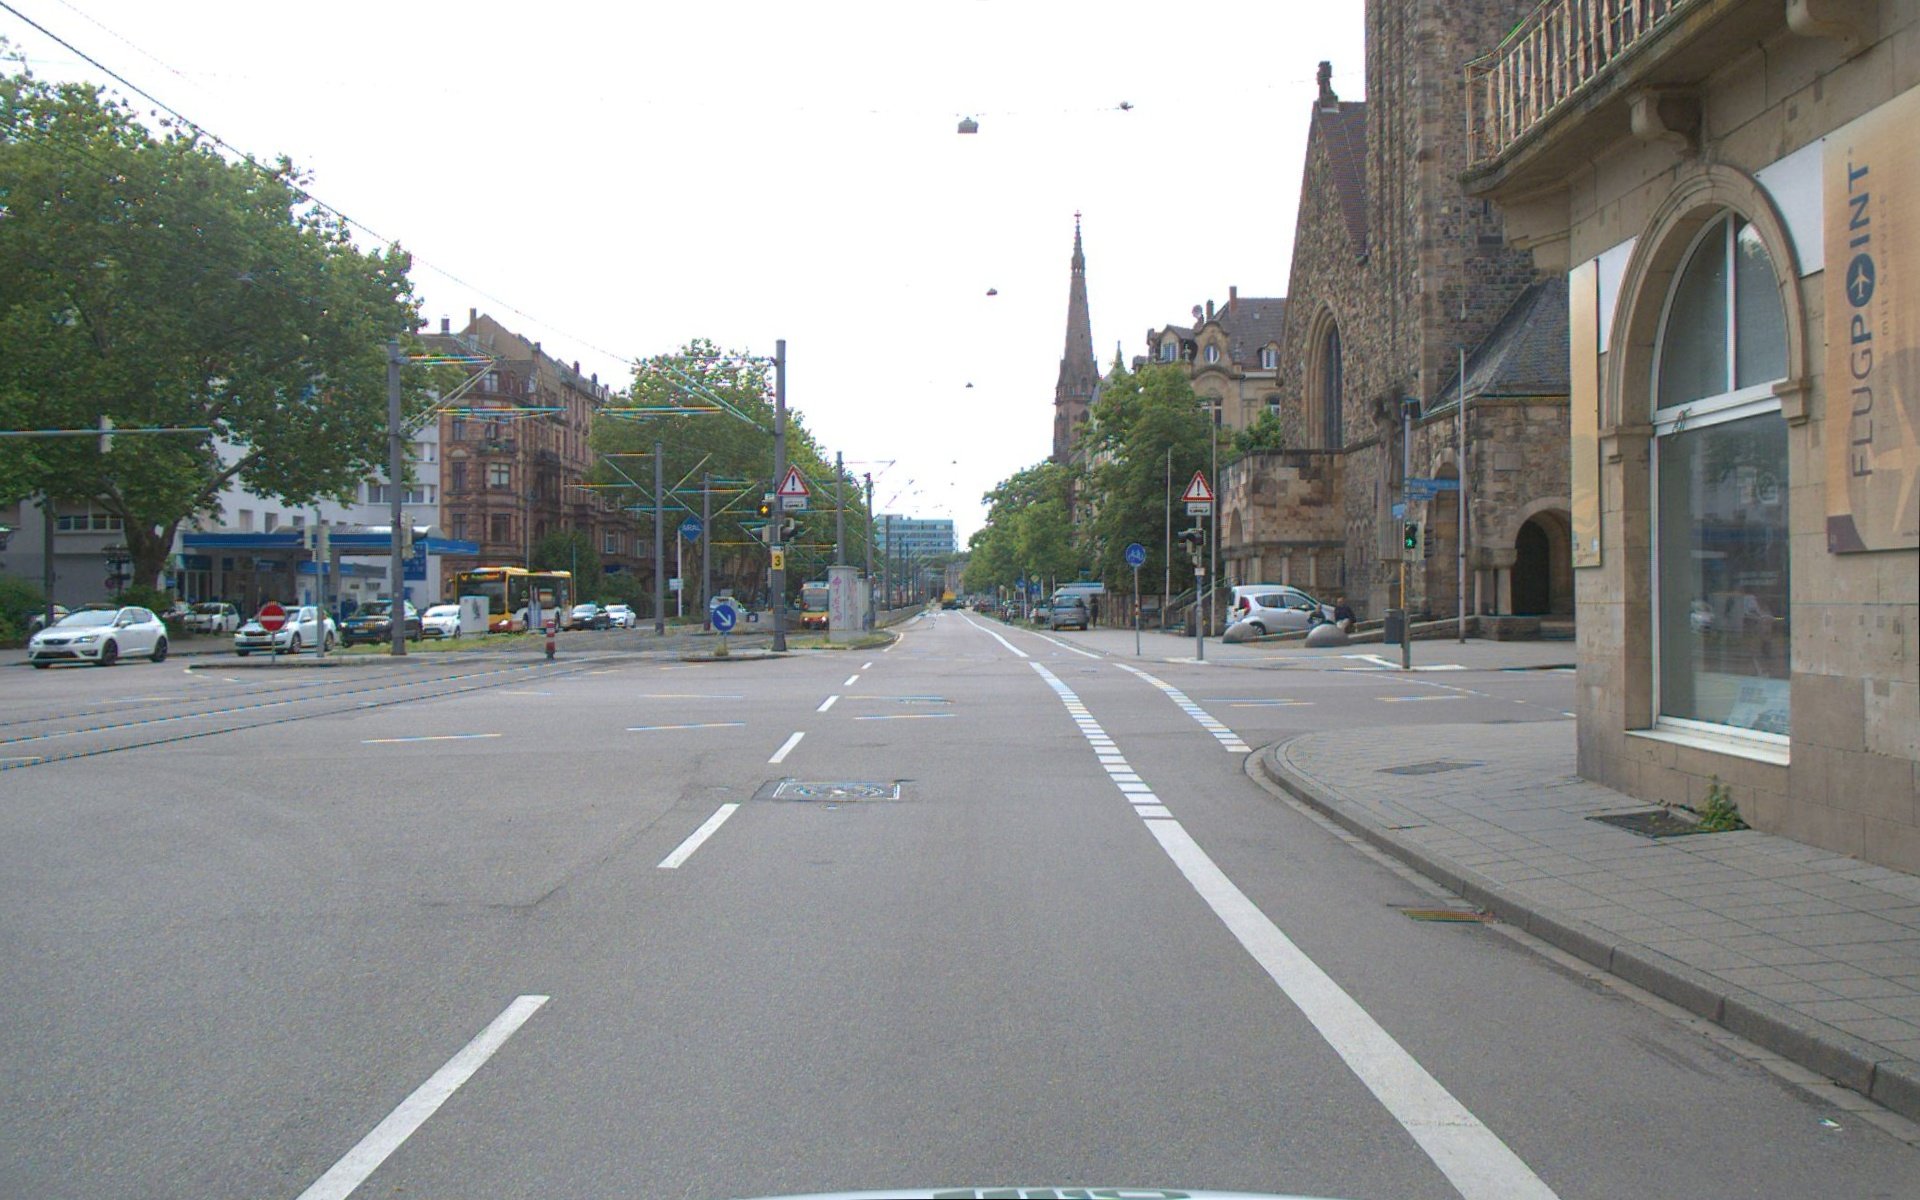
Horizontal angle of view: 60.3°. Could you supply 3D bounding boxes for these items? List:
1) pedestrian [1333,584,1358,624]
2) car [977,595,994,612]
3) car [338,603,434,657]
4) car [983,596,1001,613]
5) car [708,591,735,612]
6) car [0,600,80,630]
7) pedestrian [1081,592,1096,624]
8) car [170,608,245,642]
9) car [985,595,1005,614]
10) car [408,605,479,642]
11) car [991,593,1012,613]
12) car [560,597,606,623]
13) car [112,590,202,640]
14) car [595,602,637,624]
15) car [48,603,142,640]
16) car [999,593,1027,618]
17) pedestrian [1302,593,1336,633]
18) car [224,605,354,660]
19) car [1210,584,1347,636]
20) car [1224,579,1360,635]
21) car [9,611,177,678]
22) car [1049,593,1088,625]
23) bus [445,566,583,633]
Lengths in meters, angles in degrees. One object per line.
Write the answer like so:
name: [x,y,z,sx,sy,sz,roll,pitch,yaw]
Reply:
pedestrian: [12.153,0.114,52.135,0.721,1.250,1.063,1,0,14]
car: [3.203,0.418,208.814,1.953,2.049,3.999,1,0,-2]
car: [-20.770,1.057,60.050,1.667,1.814,5.149,1,0,0]
car: [3.863,0.514,201.112,1.953,1.959,3.999,1,0,-2]
car: [-20.127,0.148,139.742,1.667,1.742,3.890,1,0,0]
car: [-40.036,0.631,71.632,1.693,1.195,4.009,-1,0,-1]
pedestrian: [6.697,0.420,86.052,0.760,1.676,0.799,1,0,5]
car: [-32.225,1.050,70.897,1.667,1.382,3.404,1,0,0]
car: [3.824,0.474,181.416,1.953,2.049,3.999,1,0,-2]
car: [-21.034,0.947,67.537,1.667,1.422,3.890,1,0,0]
car: [4.105,0.321,162.957,1.953,1.914,4.000,-1,0,-1]
car: [-21.072,0.545,92.590,1.667,1.382,3.890,1,0,0]
car: [-34.627,0.615,71.440,1.953,2.049,4.000,-1,0,-1]
car: [-20.742,0.765,99.830,1.667,1.242,3.890,1,0,0]
car: [-37.375,0.906,71.581,1.953,1.492,4.000,-1,0,-1]
car: [4.042,0.409,126.727,1.953,1.852,4.000,-1,0,-1]
pedestrian: [11.207,0.404,51.701,0.721,1.212,1.493,1,0,0]
car: [-20.916,0.970,51.851,1.803,1.552,5.702,1,0,-1]
car: [10.633,0.330,55.456,4.260,1.665,1.662,1,0,-1]
car: [11.808,0.231,58.984,4.516,1.914,1.662,1,0,-1]
car: [-21.045,1.035,40.357,1.804,1.473,4.413,1,0,-1]
car: [5.278,0.406,80.690,1.667,1.484,3.890,1,0,0]
bus: [-21.201,-0.057,79.539,3.214,2.906,12.380,1,0,0]
